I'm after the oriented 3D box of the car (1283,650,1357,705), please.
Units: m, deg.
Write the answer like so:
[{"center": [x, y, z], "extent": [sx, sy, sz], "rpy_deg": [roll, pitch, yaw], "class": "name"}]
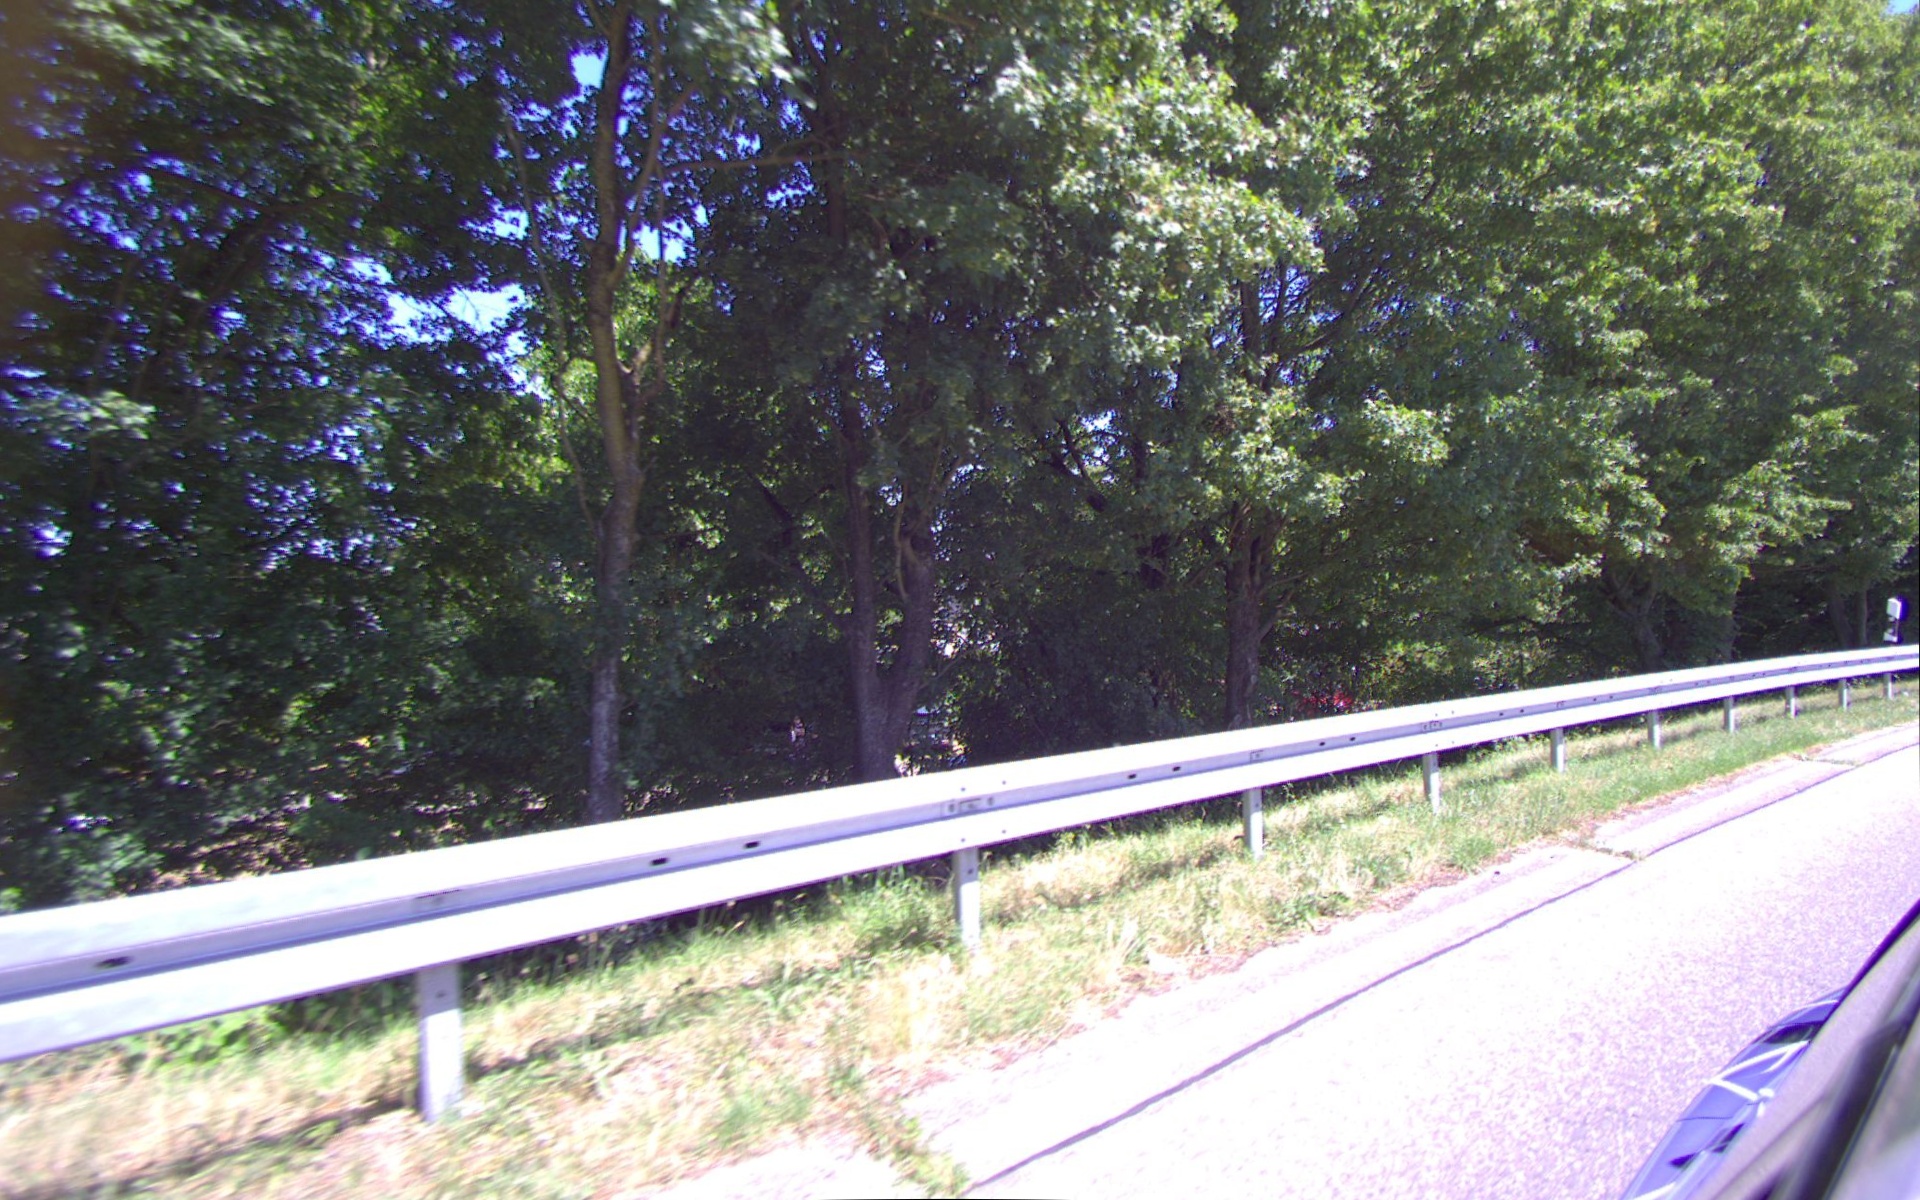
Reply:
[{"center": [15.382, 3.257, 43.441], "extent": [1.965, 2.039, 3.994], "rpy_deg": [-1, 0, 5], "class": "car"}]
